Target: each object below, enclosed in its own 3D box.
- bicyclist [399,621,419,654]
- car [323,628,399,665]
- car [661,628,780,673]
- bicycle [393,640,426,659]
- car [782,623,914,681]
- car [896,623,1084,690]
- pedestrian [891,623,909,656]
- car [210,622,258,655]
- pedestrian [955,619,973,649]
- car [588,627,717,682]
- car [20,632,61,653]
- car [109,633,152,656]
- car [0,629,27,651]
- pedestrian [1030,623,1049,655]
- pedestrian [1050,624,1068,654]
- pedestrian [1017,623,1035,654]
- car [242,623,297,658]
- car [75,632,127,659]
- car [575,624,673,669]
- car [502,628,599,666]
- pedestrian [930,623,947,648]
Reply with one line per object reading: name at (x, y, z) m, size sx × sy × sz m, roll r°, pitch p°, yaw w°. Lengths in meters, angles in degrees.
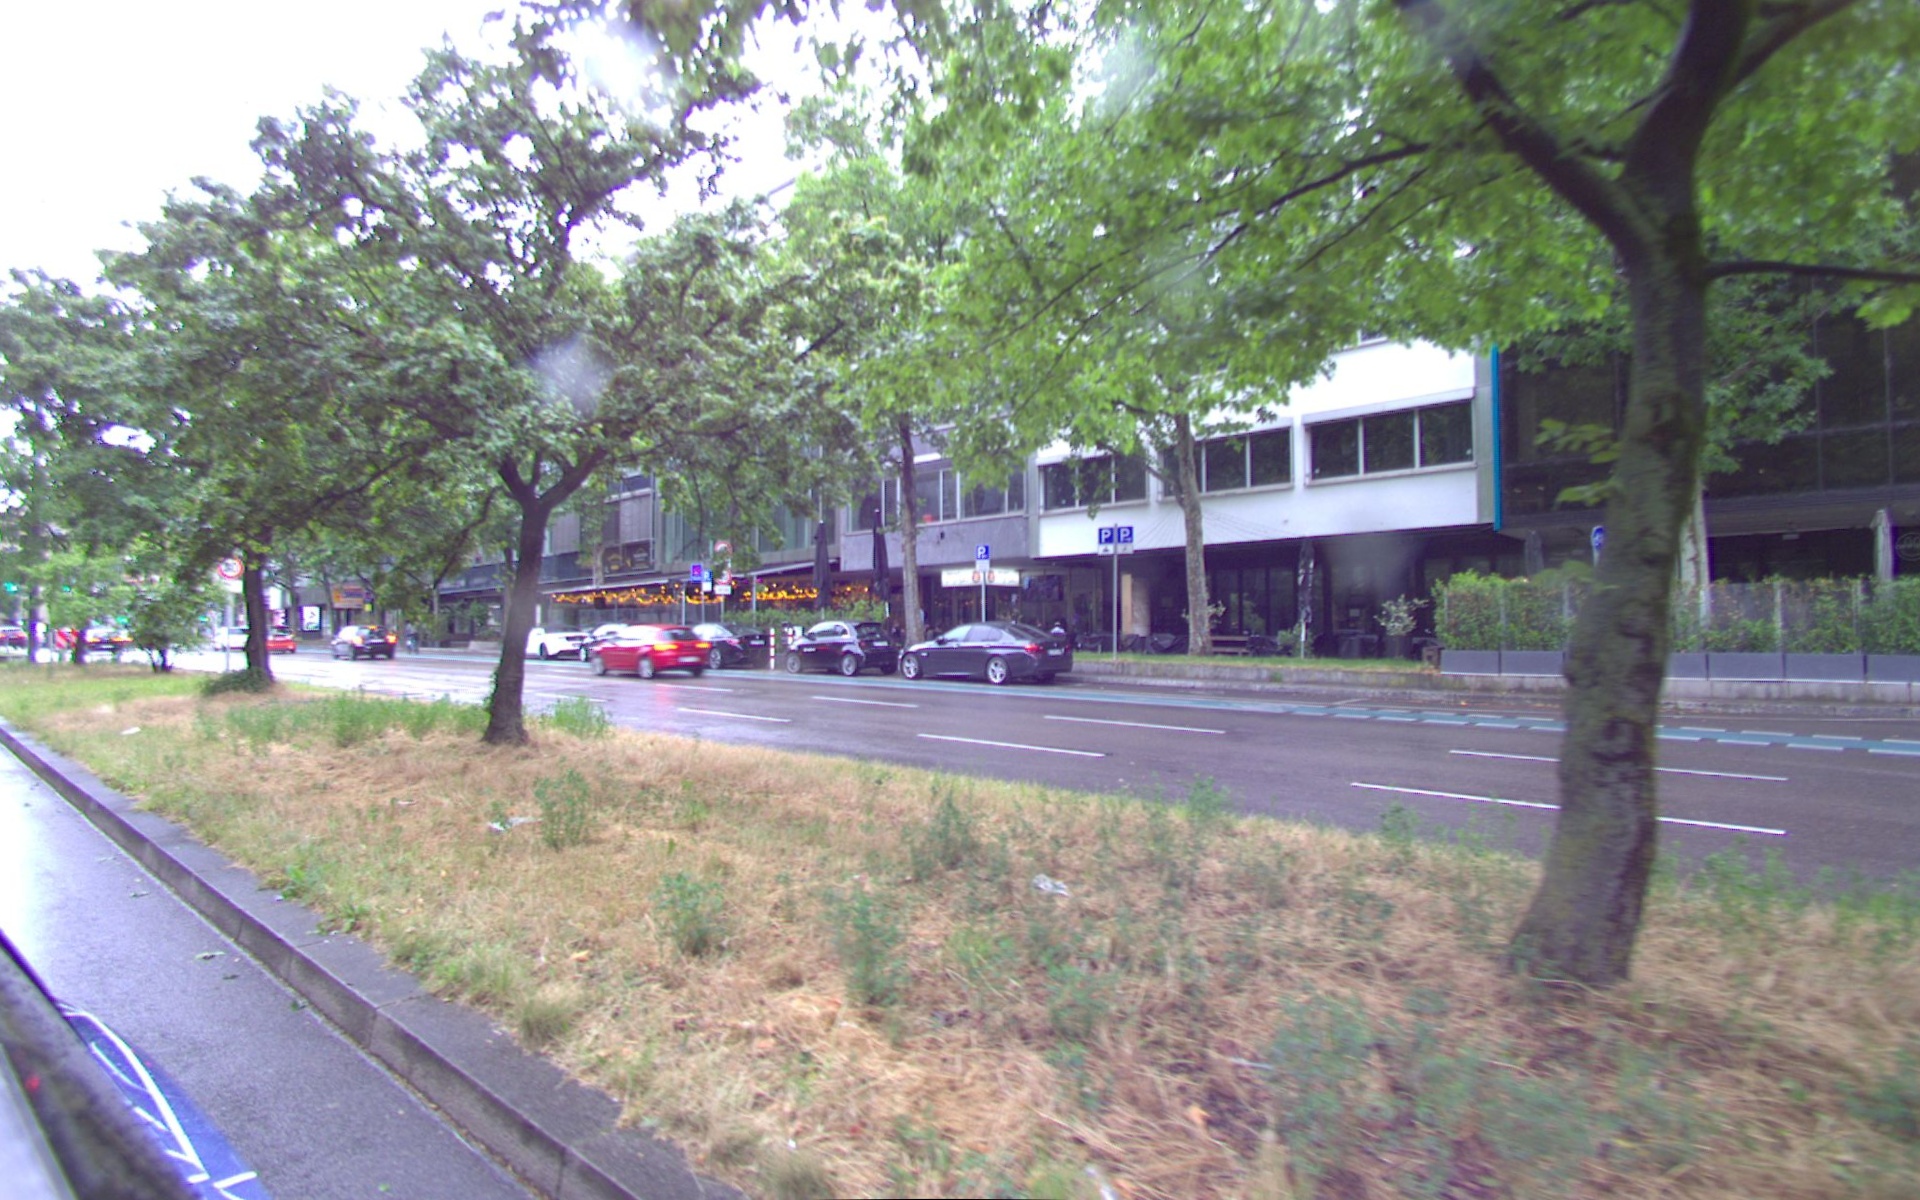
bicyclist at (-26.538, 1.789, 48.747) m, size 0.609 × 1.582 × 0.706 m, roll -1°, pitch 0°, yaw 41°
car at (-25.828, 1.957, 43.584) m, size 4.106 × 1.427 × 1.843 m, roll -1°, pitch 0°, yaw 44°
car at (-7.727, 1.574, 32.435) m, size 4.319 × 1.249 × 1.625 m, roll -1°, pitch 0°, yaw 44°
bicycle at (-26.504, 2.373, 48.718) m, size 2.230 × 0.849 × 0.706 m, roll -1°, pitch 0°, yaw 41°
car at (-3.139, 1.389, 28.035) m, size 3.400 × 1.433 × 1.851 m, roll -1°, pitch 0°, yaw 42°
car at (0.646, 1.303, 24.591) m, size 1.849 × 1.396 × 4.539 m, roll -1°, pitch 0°, yaw -45°
pedestrian at (-2.201, 1.453, 37.198) m, size 0.445 × 1.195 × 0.460 m, roll -1°, pitch 0°, yaw 44°
car at (-44.223, 2.296, 61.597) m, size 3.860 × 1.897 × 1.729 m, roll -1°, pitch 0°, yaw 44°
pedestrian at (0.146, 1.165, 35.279) m, size 0.423 × 1.024 × 0.459 m, roll -1°, pitch 0°, yaw 39°
car at (-8.574, 1.454, 28.085) m, size 3.737 × 1.335 × 1.742 m, roll -1°, pitch 0°, yaw 42°
car at (-66.516, 3.083, 73.207) m, size 3.525 × 1.400 × 1.657 m, roll -1°, pitch 0°, yaw 39°
car at (-57.099, 3.048, 69.651) m, size 3.525 × 1.400 × 1.657 m, roll -1°, pitch 0°, yaw 39°
car at (-76.878, 3.194, 81.798) m, size 3.525 × 1.643 × 1.657 m, roll -1°, pitch 0°, yaw 39°
pedestrian at (2.586, 1.265, 32.965) m, size 0.488 × 1.008 × 0.481 m, roll -1°, pitch 0°, yaw 26°
pedestrian at (3.214, 1.263, 32.766) m, size 0.451 × 0.970 × 0.454 m, roll -1°, pitch 0°, yaw 26°
pedestrian at (2.168, 1.276, 33.344) m, size 0.461 × 1.000 × 0.455 m, roll -1°, pitch 0°, yaw 26°
car at (-37.346, 2.157, 54.700) m, size 3.860 × 1.738 × 1.729 m, roll -1°, pitch 0°, yaw 44°
car at (-49.263, 2.593, 58.031) m, size 3.525 × 1.400 × 1.657 m, roll -1°, pitch 0°, yaw 39°
car at (-12.146, 1.635, 36.509) m, size 3.788 × 1.464 × 1.727 m, roll -1°, pitch 0°, yaw 43°
car at (-16.347, 1.830, 40.311) m, size 4.392 × 1.336 × 1.856 m, roll -1°, pitch 0°, yaw 43°
pedestrian at (-0.770, 1.264, 36.308) m, size 0.433 × 0.856 × 0.435 m, roll -1°, pitch 0°, yaw 39°
